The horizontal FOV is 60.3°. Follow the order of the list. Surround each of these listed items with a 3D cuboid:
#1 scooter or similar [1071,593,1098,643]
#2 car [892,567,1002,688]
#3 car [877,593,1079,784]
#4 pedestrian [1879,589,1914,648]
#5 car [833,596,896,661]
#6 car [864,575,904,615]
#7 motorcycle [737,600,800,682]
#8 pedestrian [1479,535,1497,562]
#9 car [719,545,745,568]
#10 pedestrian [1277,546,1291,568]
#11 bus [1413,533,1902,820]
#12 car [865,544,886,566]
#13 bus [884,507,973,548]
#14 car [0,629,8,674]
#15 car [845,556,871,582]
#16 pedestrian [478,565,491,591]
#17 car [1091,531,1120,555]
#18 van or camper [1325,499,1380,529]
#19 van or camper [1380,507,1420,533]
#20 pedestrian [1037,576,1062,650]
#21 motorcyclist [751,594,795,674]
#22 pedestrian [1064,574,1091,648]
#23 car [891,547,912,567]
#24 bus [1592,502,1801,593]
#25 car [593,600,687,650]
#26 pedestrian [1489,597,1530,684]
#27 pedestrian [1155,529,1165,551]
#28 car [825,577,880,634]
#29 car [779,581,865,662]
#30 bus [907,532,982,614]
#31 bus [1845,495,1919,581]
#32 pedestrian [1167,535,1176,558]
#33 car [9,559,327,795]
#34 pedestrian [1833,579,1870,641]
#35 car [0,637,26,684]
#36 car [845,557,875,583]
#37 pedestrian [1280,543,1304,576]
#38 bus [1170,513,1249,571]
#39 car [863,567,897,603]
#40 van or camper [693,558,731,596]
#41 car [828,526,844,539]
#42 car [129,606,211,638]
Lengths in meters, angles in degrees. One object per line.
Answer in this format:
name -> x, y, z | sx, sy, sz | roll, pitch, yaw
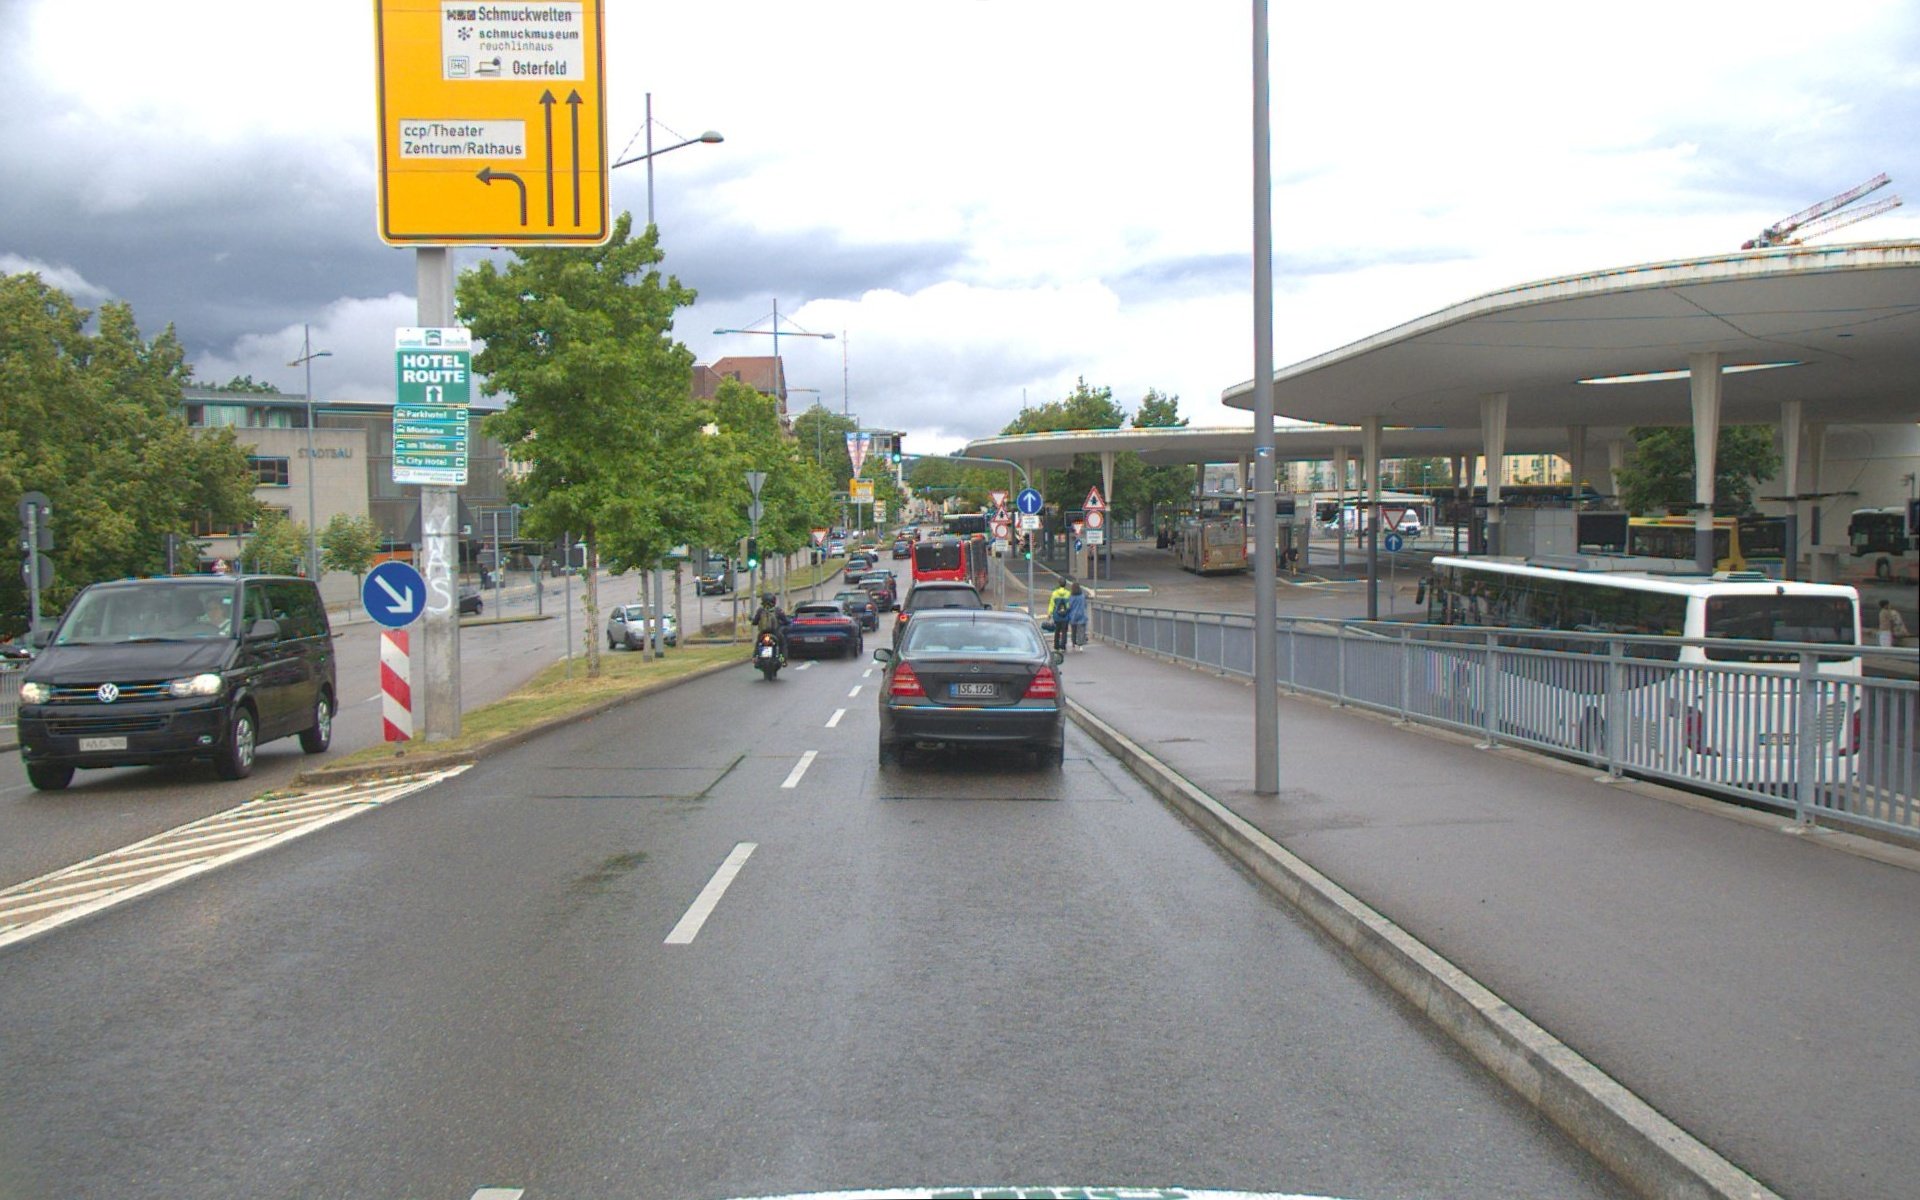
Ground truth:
scooter or similar -> 3.187, 0.452, 42.537 | 0.454, 1.242, 1.859 | -2, 0, -2
car -> -0.276, 0.465, 33.269 | 1.918, 1.907, 4.874 | -4, 4, -1
car -> 0.107, 0.724, 15.916 | 1.663, 1.487, 4.303 | -1, 1, -1
pedestrian -> 23.478, 0.455, 41.455 | 0.557, 1.417, 0.558 | -2, 3, 5
car -> -2.975, 0.852, 51.973 | 1.706, 1.593, 3.872 | -4, 4, -1
car -> -3.477, -0.251, 76.113 | 1.544, 1.530, 3.872 | -4, 4, 0
motorcycle -> -3.489, 0.728, 30.235 | 0.776, 1.283, 1.856 | -4, 3, 3
pedestrian -> 32.165, -3.148, 100.769 | 0.779, 1.613, 0.907 | -1, 2, -7
car -> -19.502, -3.731, 141.723 | 1.871, 1.690, 4.856 | -2, 4, -4
pedestrian -> 19.663, -2.598, 100.316 | 0.776, 1.247, 0.634 | -2, 3, 16
bus -> 11.105, 0.797, 28.521 | 2.787, 3.419, 12.429 | 1, 4, -1
car -> -7.349, -3.916, 144.398 | 1.608, 1.836, 3.639 | 1, 0, -1
bus -> -3.444, -7.751, 177.232 | 2.821, 4.056, 11.693 | -5, 4, -39
car -> -34.727, 1.886, 55.912 | 1.696, 1.534, 4.035 | 0, 4, 40
car -> -7.997, -2.433, 129.809 | 1.761, 1.940, 3.639 | 1, 0, -1
pedestrian -> -32.802, -1.542, 114.096 | 0.464, 1.712, 0.764 | -3, 3, 6
car -> 11.001, -4.362, 125.325 | 1.677, 1.690, 4.240 | -1, 3, -2
van or camper -> 36.268, -7.933, 152.961 | 4.515, 2.602, 2.118 | 1, 1, -2
van or camper -> 39.005, -7.096, 146.754 | 1.953, 2.139, 5.479 | 1, 1, -2
pedestrian -> 2.090, 0.304, 38.536 | 0.512, 1.699, 0.580 | -1, 0, -2
motorcyclist -> -3.432, 0.616, 30.337 | 0.628, 1.370, 0.689 | -3, 3, 2
pedestrian -> 2.743, 0.265, 38.599 | 0.577, 1.700, 0.580 | 1, -2, -2
car -> -5.189, -3.810, 147.545 | 1.828, 1.713, 3.999 | 1, 1, -1
bus -> 30.046, -2.336, 68.303 | 2.733, 3.313, 12.139 | -2, 3, -3
car -> -10.610, 0.786, 54.669 | 1.619, 1.473, 3.829 | -5, 3, -34
pedestrian -> 12.531, 0.913, 37.728 | 0.580, 1.919, 0.640 | -3, 5, -37
pedestrian -> 16.534, -4.944, 136.682 | 0.569, 1.746, 0.559 | 1, -1, 34
car -> -3.806, 0.169, 59.151 | 1.642, 1.650, 3.872 | -4, 4, -1
car -> -3.429, 0.488, 41.823 | 1.779, 1.597, 4.405 | -4, 4, -1
bus -> -0.705, -1.465, 80.426 | 3.219, 3.348, 10.881 | -3, 3, 0
bus -> 39.924, -2.453, 66.132 | 2.416, 3.312, 11.974 | -3, 4, -1
pedestrian -> 16.266, -4.122, 127.198 | 0.549, 1.721, 0.613 | -2, 3, -8
car -> -7.794, 0.683, 16.772 | 1.813, 2.002, 4.670 | -2, 0, -12
pedestrian -> 23.719, 0.260, 44.007 | 0.577, 1.617, 0.677 | 1, -1, -5
car -> -35.652, 2.272, 58.877 | 1.697, 1.594, 3.818 | 0, 4, 41
car -> -6.606, -1.968, 109.627 | 1.828, 1.713, 3.999 | 1, 1, -1
pedestrian -> 17.836, -2.199, 88.884 | 0.709, 1.712, 1.013 | -5, 3, -26
bus -> 15.071, -3.634, 100.699 | 2.666, 3.095, 12.091 | -3, 3, -1
car -> -4.232, -0.798, 87.920 | 1.544, 1.593, 3.872 | -4, 4, -1
van or camper -> -15.791, -1.432, 105.030 | 2.176, 2.108, 5.272 | -4, 0, -9
car -> -16.673, -9.114, 222.394 | 1.744, 1.593, 3.430 | -4, 4, -1
car -> -44.993, 1.222, 94.275 | 1.731, 1.521, 3.774 | 0, 4, 37
